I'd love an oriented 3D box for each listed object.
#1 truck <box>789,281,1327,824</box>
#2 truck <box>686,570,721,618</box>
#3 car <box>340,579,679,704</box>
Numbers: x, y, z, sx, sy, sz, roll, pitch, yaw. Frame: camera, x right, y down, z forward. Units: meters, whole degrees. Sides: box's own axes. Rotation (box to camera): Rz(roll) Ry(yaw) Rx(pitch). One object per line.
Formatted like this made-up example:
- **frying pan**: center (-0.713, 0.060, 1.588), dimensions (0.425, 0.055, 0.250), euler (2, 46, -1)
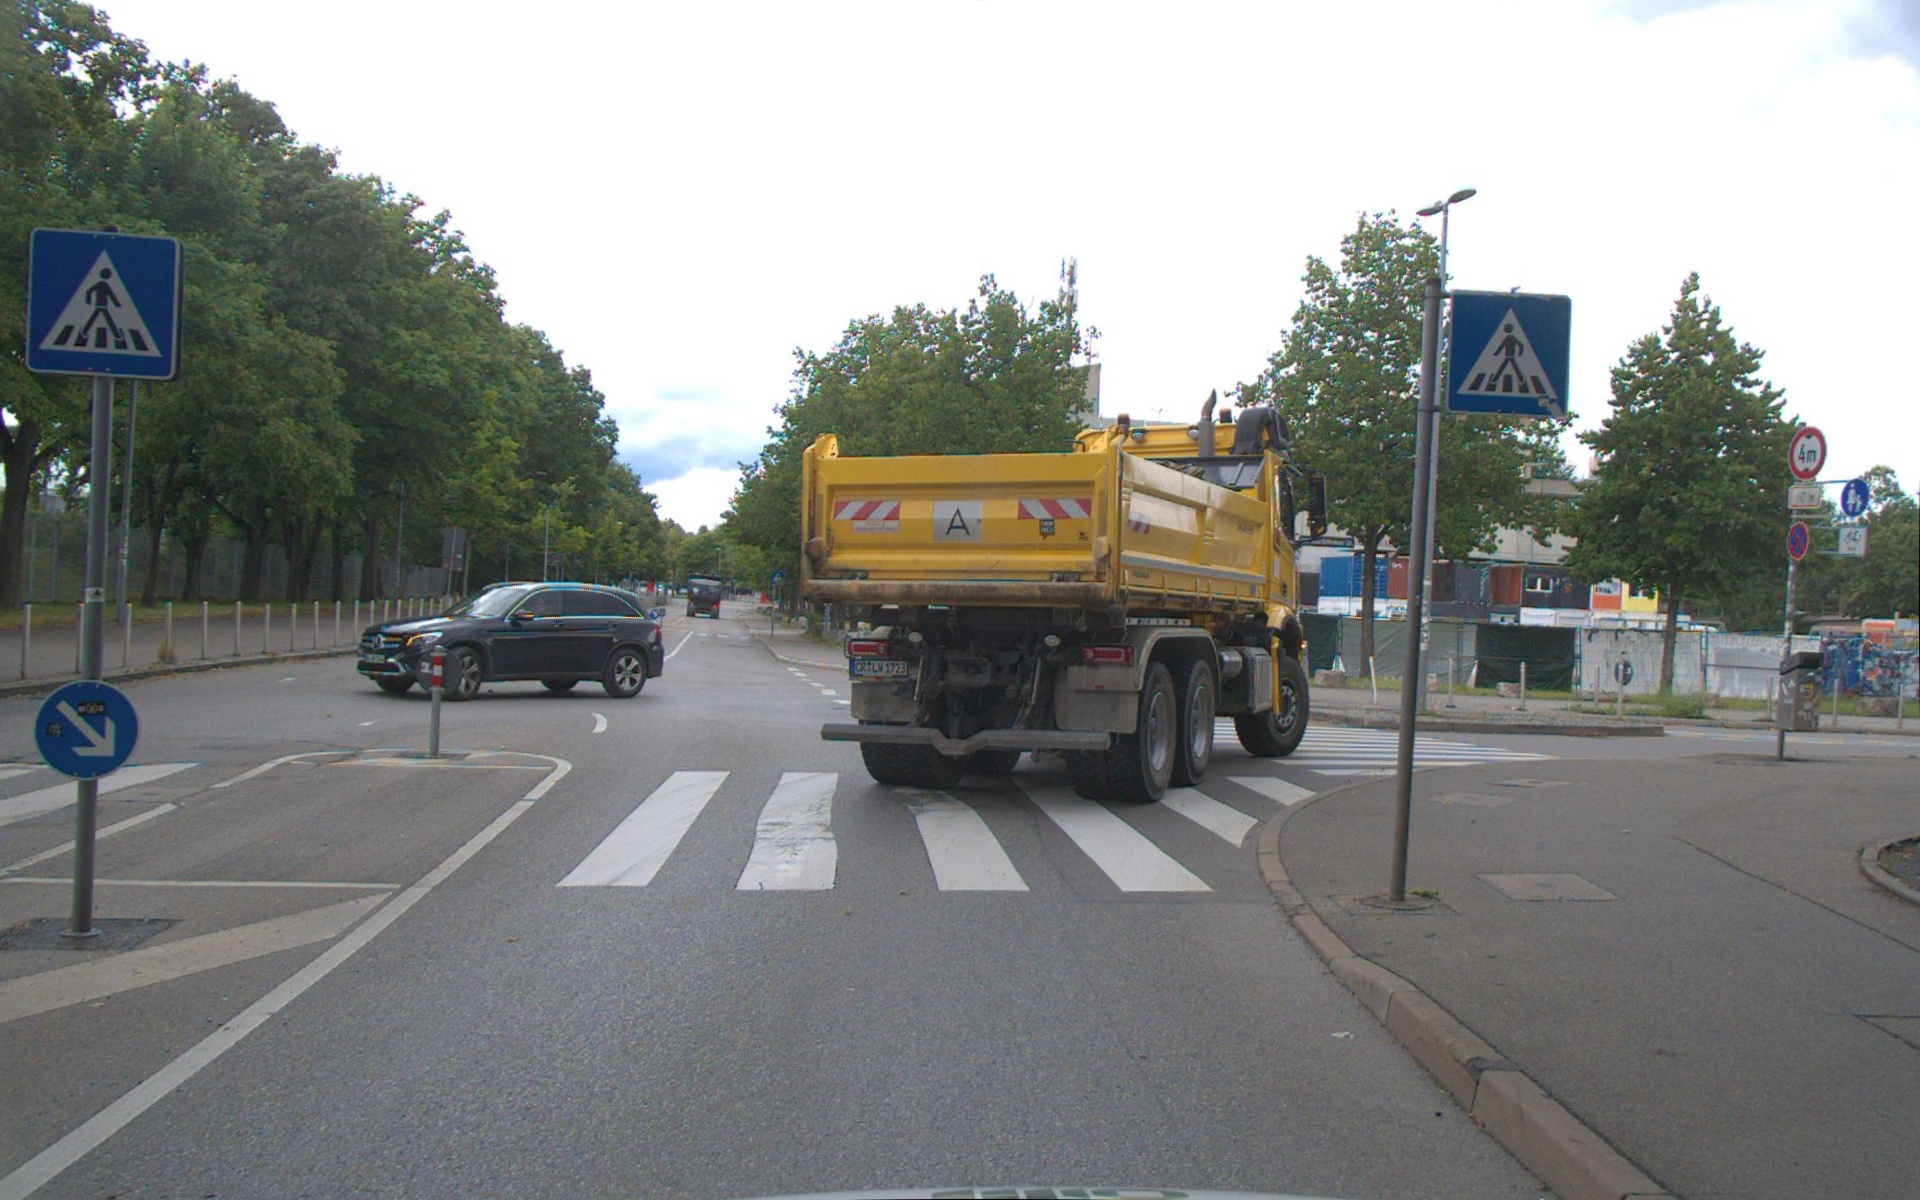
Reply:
- **truck**: center (1.432, -0.290, 15.628), dimensions (2.701, 3.763, 7.879), euler (-1, -1, 22)
- **truck**: center (-20.031, -0.443, 129.106), dimensions (2.624, 3.621, 7.906), euler (0, -1, -9)
- **car**: center (-6.440, 0.583, 24.066), dimensions (1.812, 1.602, 4.525), euler (2, 0, 40)
